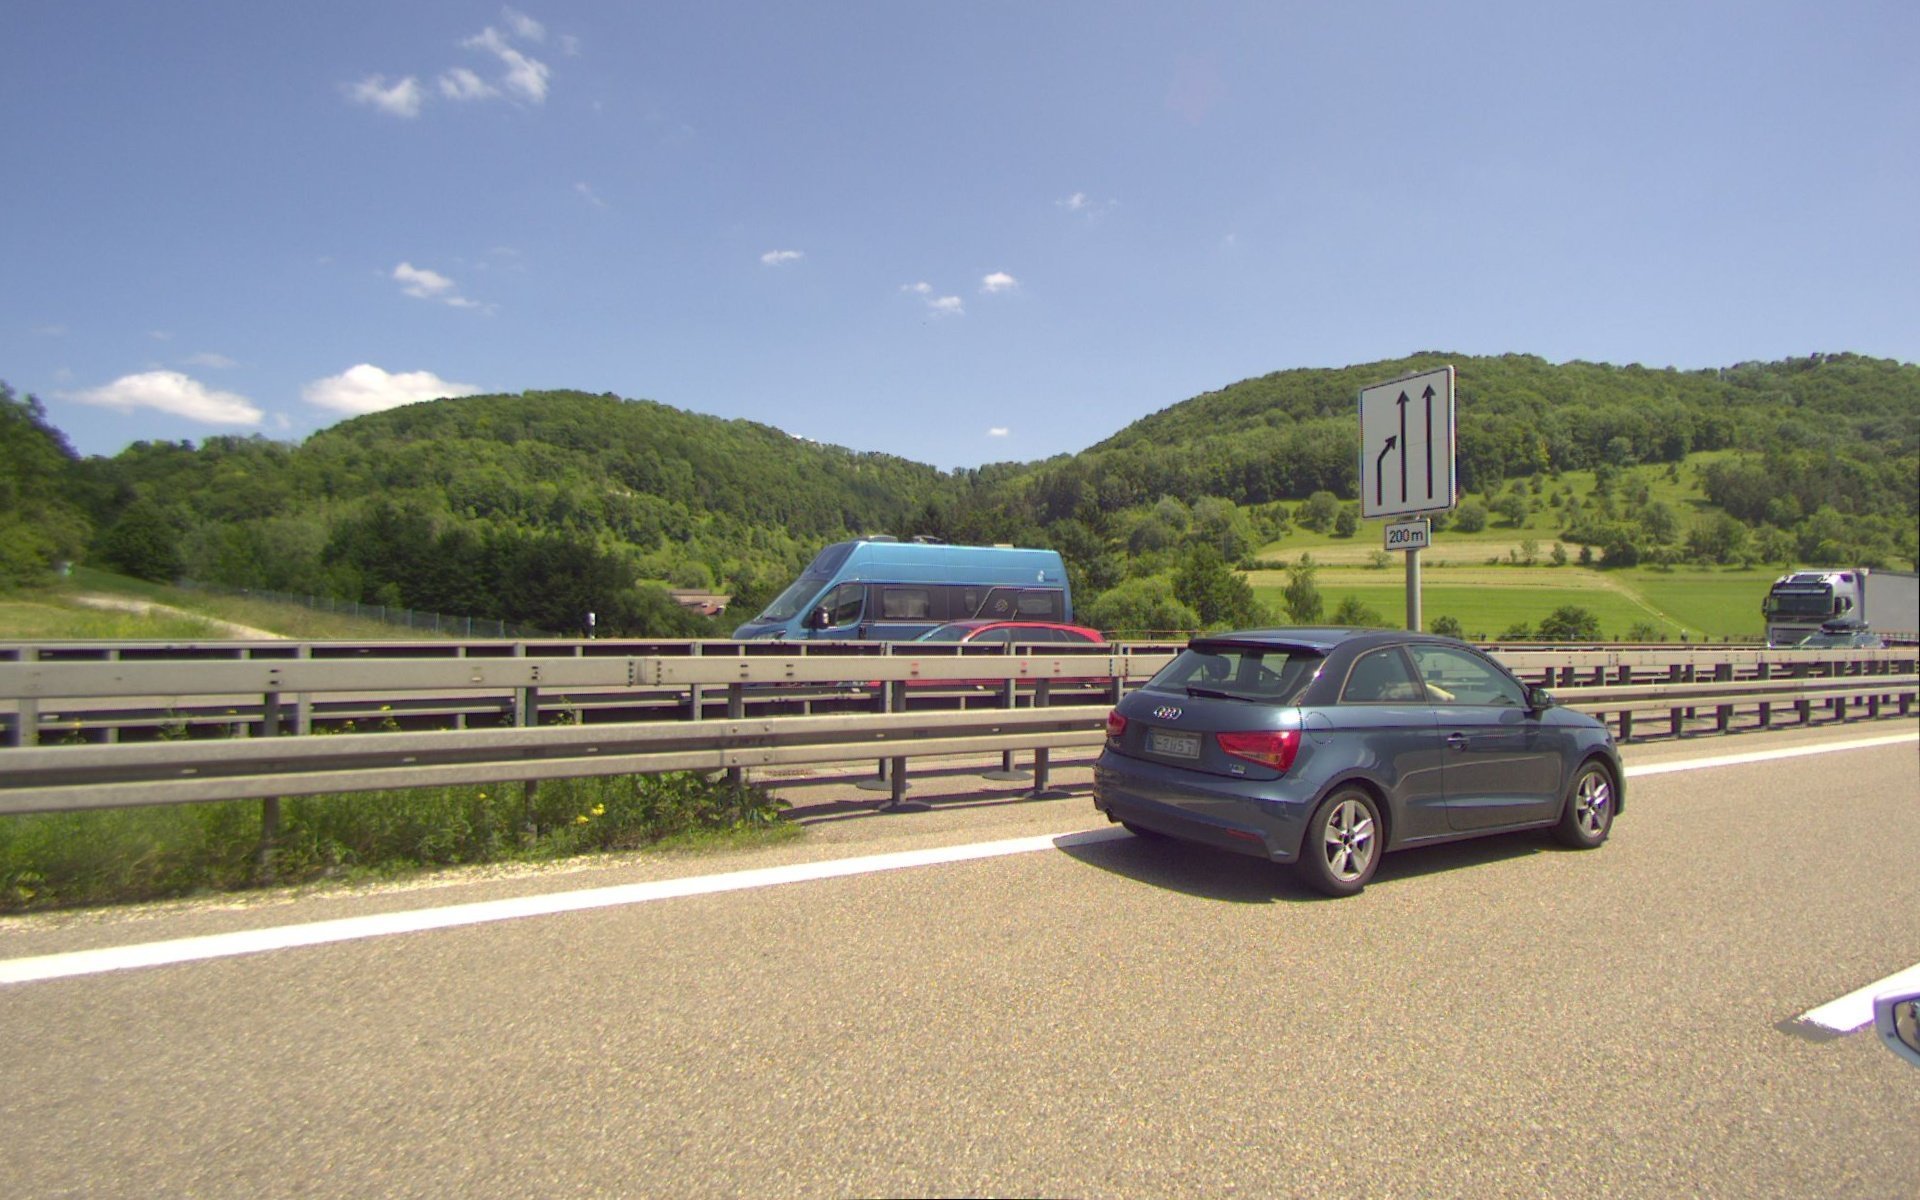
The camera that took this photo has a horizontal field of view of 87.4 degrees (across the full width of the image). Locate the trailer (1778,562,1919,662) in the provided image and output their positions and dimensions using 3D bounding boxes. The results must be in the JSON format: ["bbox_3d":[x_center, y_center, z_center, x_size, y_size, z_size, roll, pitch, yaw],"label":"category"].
[{"bbox_3d":[43.591,0.694,47.450,12.845,4.260,3.232,2,0,-30],"label":"trailer"}]

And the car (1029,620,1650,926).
[{"bbox_3d":[2.541,0.867,6.455,3.955,1.407,1.680,1,-1,-32],"label":"car"}]

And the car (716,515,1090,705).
[{"bbox_3d":[-0.893,0.243,17.869,6.325,2.900,2.145,2,0,-31],"label":"car"}]

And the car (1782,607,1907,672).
[{"bbox_3d":[30.787,1.365,34.963,4.229,2.146,1.878,1,-1,-28],"label":"car"}]

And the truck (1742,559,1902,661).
[{"bbox_3d":[37.973,0.508,44.194,6.874,4.203,3.262,2,-1,-30],"label":"truck"}]

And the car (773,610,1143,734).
[{"bbox_3d":[0.037,0.894,13.624,4.665,1.405,1.984,1,0,-30],"label":"car"}]
